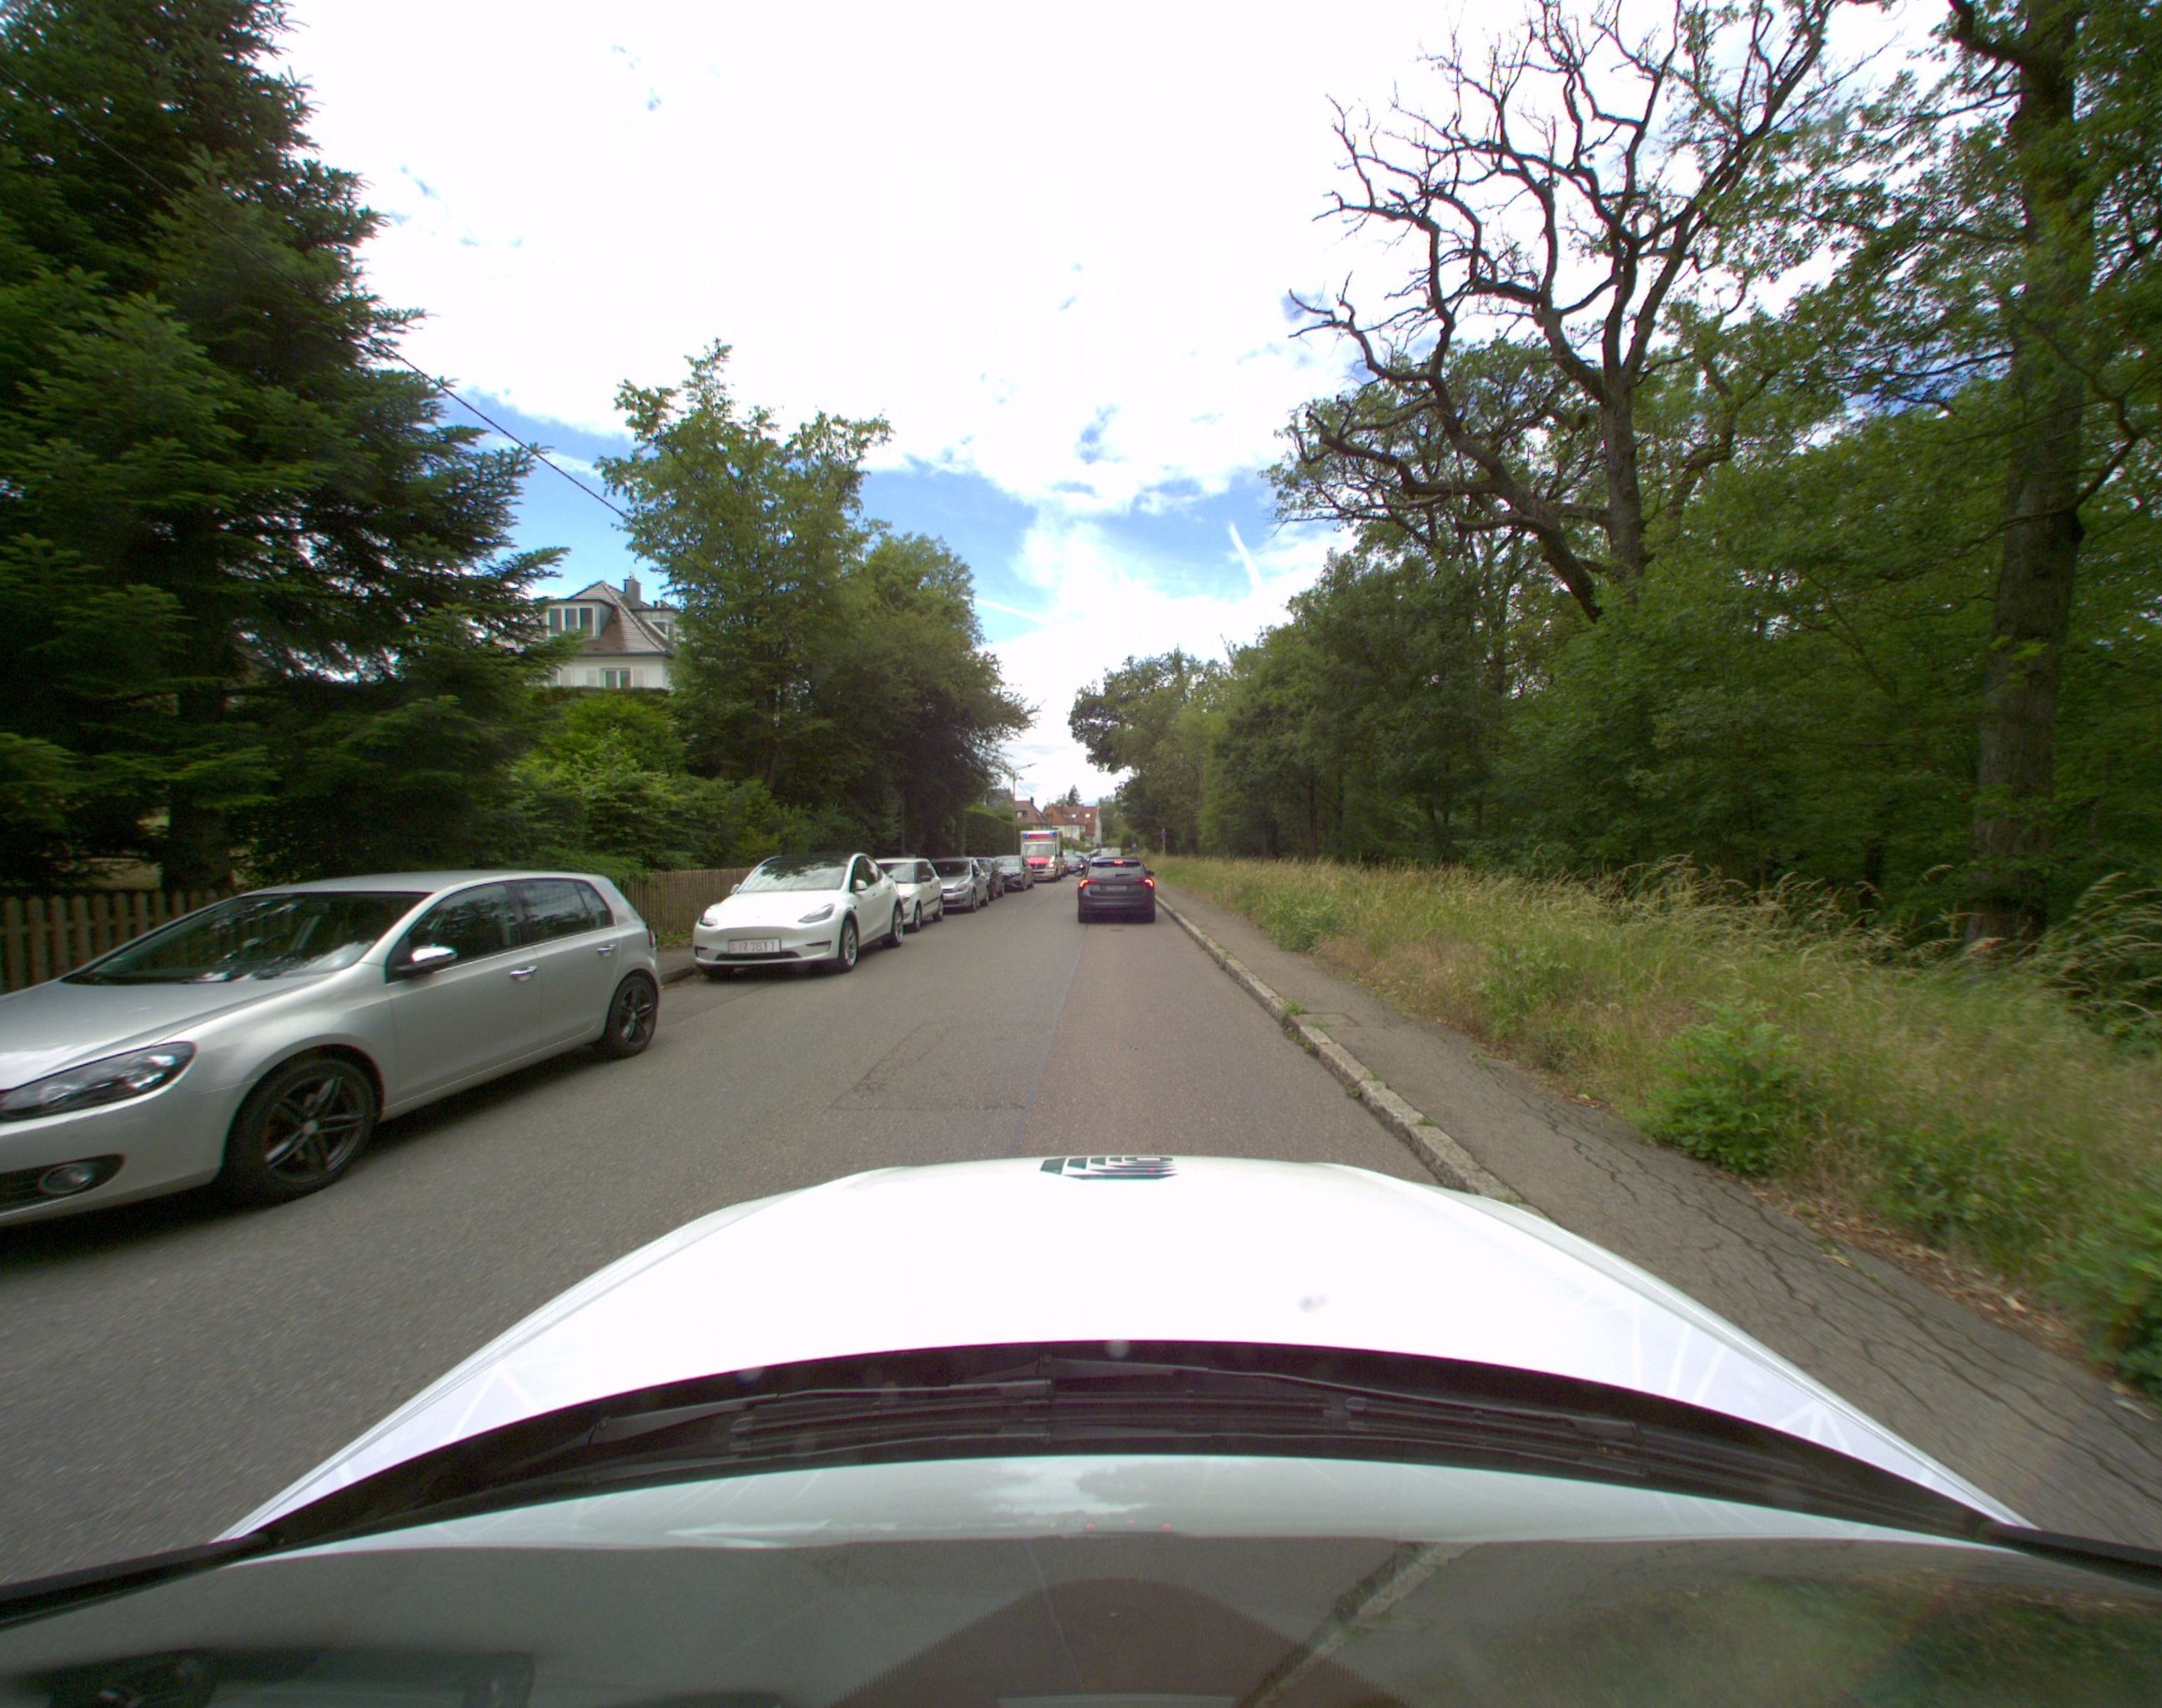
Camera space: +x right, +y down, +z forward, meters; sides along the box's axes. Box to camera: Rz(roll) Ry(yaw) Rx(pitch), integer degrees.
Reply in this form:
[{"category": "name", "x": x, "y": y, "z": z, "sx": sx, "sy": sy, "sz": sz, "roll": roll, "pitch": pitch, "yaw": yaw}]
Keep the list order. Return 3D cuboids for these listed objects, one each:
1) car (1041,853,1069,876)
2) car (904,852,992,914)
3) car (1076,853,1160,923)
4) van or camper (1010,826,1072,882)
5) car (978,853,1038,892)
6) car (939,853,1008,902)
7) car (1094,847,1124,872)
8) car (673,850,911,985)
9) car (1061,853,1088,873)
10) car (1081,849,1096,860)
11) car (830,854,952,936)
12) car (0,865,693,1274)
[{"category": "car", "x": -1.713, "y": 0.693, "z": 54.434, "sx": 1.758, "sy": 1.446, "sz": 4.471, "roll": -1, "pitch": 0, "yaw": -2}, {"category": "car", "x": -3.583, "y": 0.741, "z": 22.618, "sx": 1.715, "sy": 1.505, "sz": 4.008, "roll": -2, "pitch": 0, "yaw": 0}, {"category": "car", "x": 0.780, "y": 0.722, "z": 19.436, "sx": 1.723, "sy": 1.439, "sz": 4.322, "roll": 0, "pitch": 0, "yaw": -1}, {"category": "van or camper", "x": -2.130, "y": -0.018, "z": 45.931, "sx": 2.444, "sy": 2.895, "sz": 7.178, "roll": -1, "pitch": 0, "yaw": 5}, {"category": "car", "x": -3.079, "y": 0.728, "z": 35.284, "sx": 1.790, "sy": 1.505, "sz": 4.868, "roll": -3, "pitch": 0, "yaw": 3}, {"category": "car", "x": -3.693, "y": 0.766, "z": 28.605, "sx": 1.714, "sy": 1.505, "sz": 4.061, "roll": -2, "pitch": 0, "yaw": 1}, {"category": "car", "x": 2.195, "y": 0.392, "z": 64.633, "sx": 2.066, "sy": 1.922, "sz": 4.919, "roll": 0, "pitch": 0, "yaw": -2}, {"category": "car", "x": -4.007, "y": 0.764, "z": 12.242, "sx": 1.911, "sy": 1.562, "sz": 4.602, "roll": -2, "pitch": 0, "yaw": -1}, {"category": "car", "x": -0.445, "y": 0.658, "z": 61.309, "sx": 1.756, "sy": 1.446, "sz": 4.477, "roll": -1, "pitch": 0, "yaw": 3}, {"category": "car", "x": 1.007, "y": 0.057, "z": 102.872, "sx": 1.856, "sy": 1.414, "sz": 4.593, "roll": 1, "pitch": 0, "yaw": 1}, {"category": "car", "x": -3.998, "y": 0.788, "z": 17.734, "sx": 1.715, "sy": 1.505, "sz": 3.816, "roll": -2, "pitch": 0, "yaw": 0}, {"category": "car", "x": -4.386, "y": 0.843, "z": 5.077, "sx": 1.828, "sy": 1.439, "sz": 4.118, "roll": -2, "pitch": 0, "yaw": 2}]
